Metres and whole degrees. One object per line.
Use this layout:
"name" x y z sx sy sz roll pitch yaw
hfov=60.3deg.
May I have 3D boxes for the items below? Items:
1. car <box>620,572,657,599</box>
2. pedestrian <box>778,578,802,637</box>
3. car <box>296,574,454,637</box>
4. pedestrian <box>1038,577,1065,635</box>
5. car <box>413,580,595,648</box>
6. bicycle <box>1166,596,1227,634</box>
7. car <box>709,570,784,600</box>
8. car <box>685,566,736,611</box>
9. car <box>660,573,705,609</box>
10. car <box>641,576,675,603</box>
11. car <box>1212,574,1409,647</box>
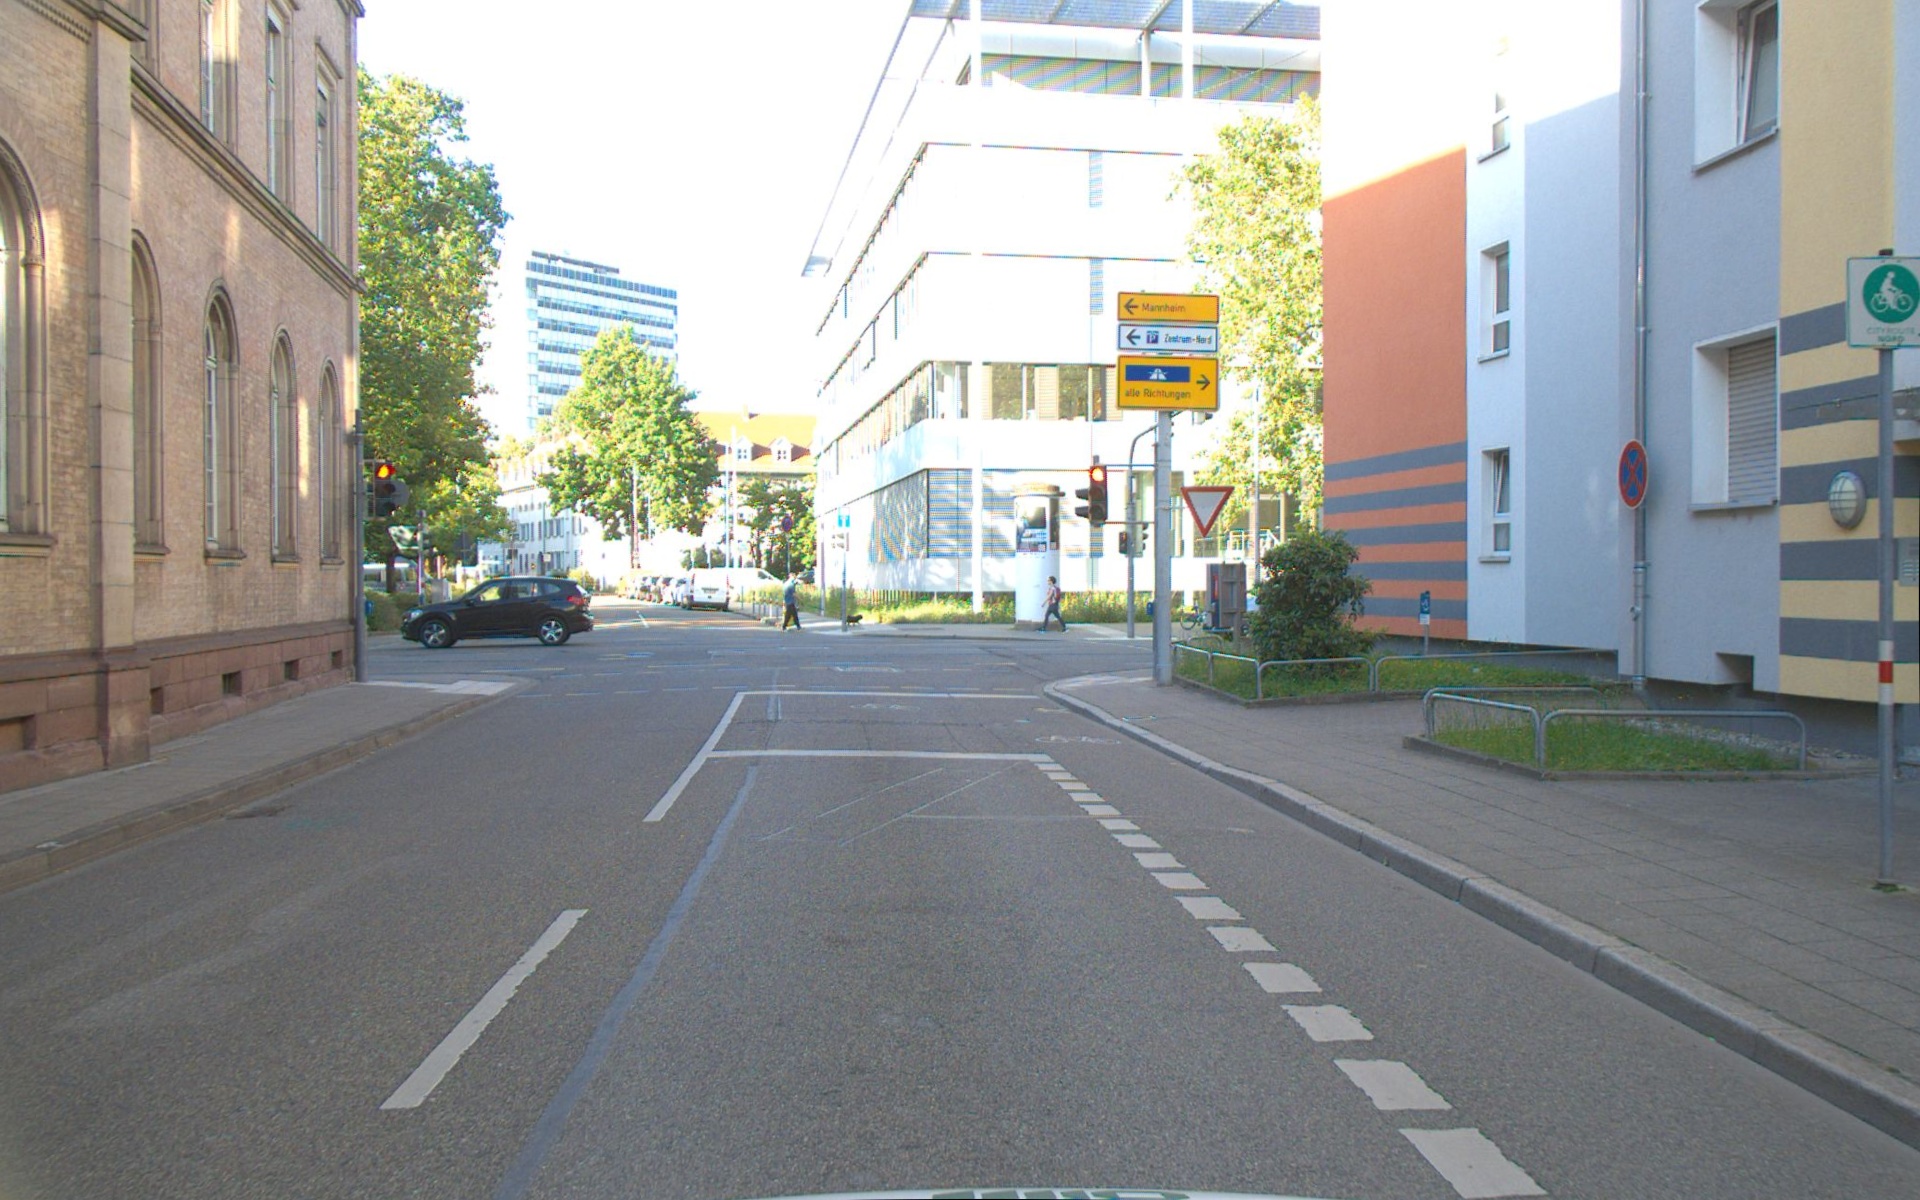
"car" -20.657 -0.947 106.075 2.065 1.687 4.458 0 1 -14
"pedestrian" -5.195 0.215 50.494 0.641 1.766 0.809 0 0 -14
"car" -17.208 0.147 48.844 4.150 1.808 1.899 0 1 -12
"pedestrian" 2.592 0.173 47.045 0.698 1.627 0.617 0 0 -4
"car" -10.666 0.297 38.939 3.913 1.552 1.865 0 1 -9
"bicycle" 6.897 0.420 48.306 0.461 1.067 1.883 -1 1 -45
"car" -14.672 -1.021 113.695 4.810 1.905 1.988 1 0 -20
"car" -11.414 -0.539 75.486 2.031 1.997 4.226 0 1 -12
"car" -14.645 -0.492 87.234 1.915 1.826 4.220 0 1 -16
"car" -17.639 -0.629 96.443 1.675 1.489 4.222 0 1 -14
"car" 9.074 0.242 42.995 4.672 1.736 1.796 -1 1 -10
